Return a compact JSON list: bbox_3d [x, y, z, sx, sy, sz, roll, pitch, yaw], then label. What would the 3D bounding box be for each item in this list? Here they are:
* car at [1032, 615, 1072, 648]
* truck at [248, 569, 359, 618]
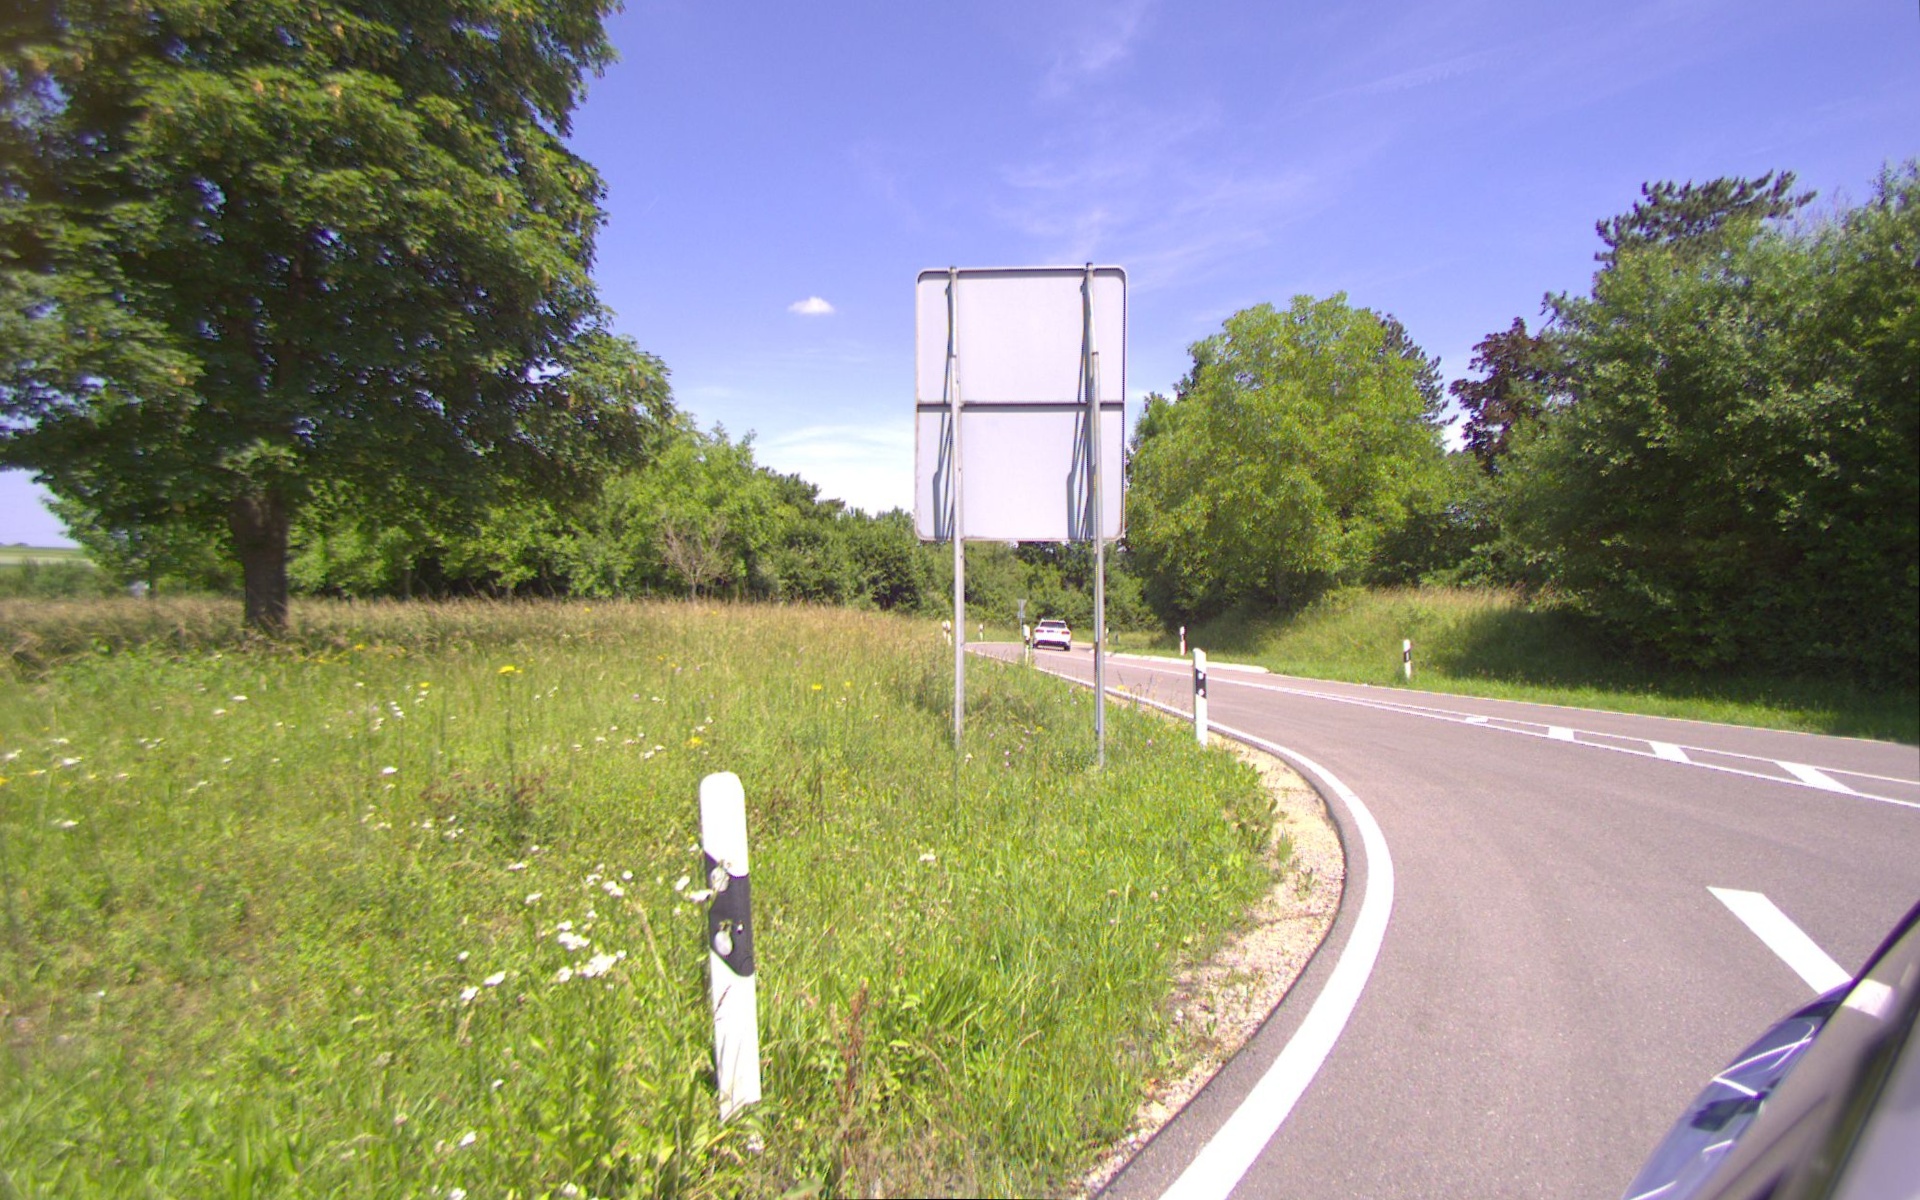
[{"bbox_3d":[4.403,1.518,48.973,1.778,1.430,5.326,2,-2,4],"label":"car"},{"bbox_3d":[-62.035,-0.557,96.309,2.792,4.184,16.841,1,0,-12],"label":"truck"}]
